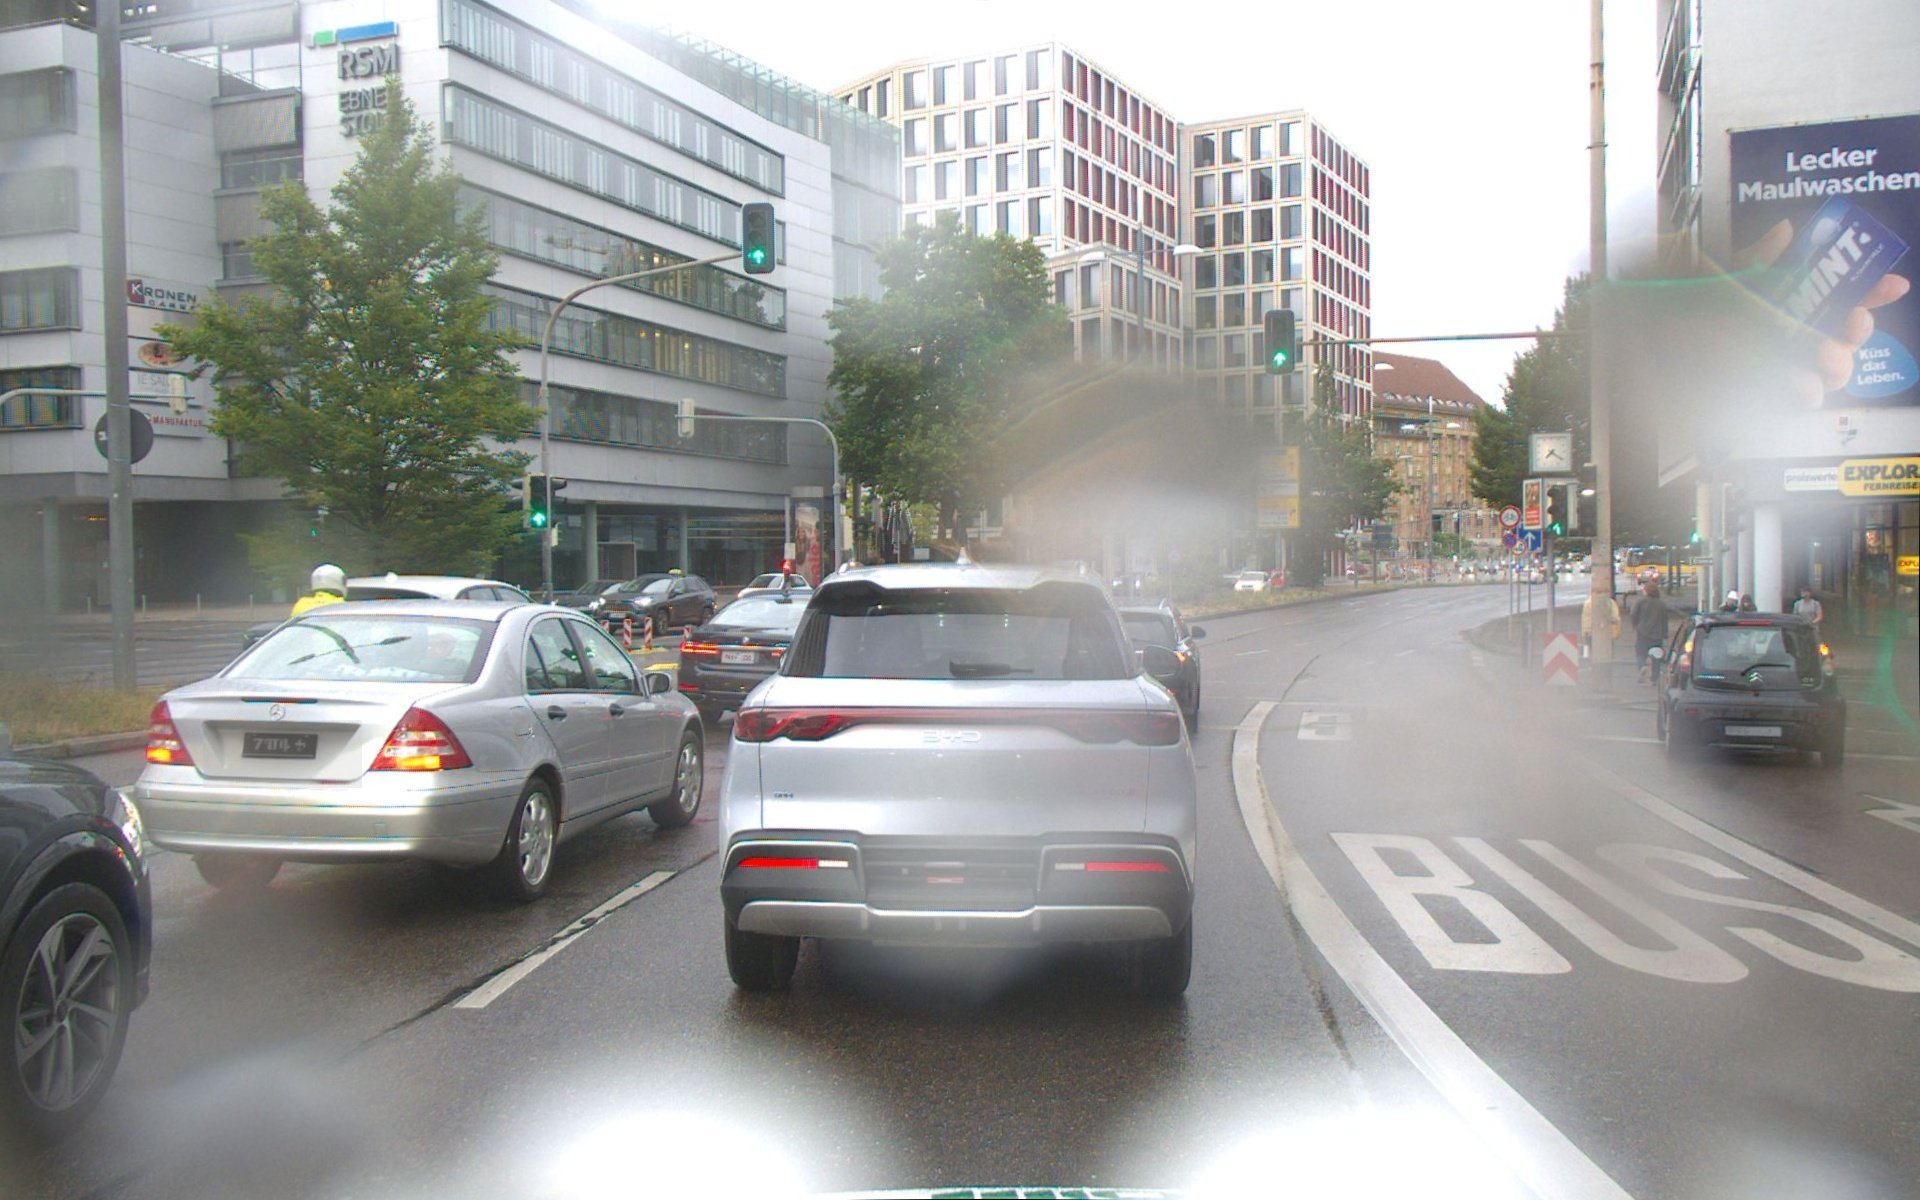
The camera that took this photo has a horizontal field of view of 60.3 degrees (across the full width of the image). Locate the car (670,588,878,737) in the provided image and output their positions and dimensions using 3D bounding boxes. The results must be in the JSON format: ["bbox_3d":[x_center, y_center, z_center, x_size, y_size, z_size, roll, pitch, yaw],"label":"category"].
[{"bbox_3d":[-2.033,0.655,19.127,1.537,1.512,4.003,1,0,6],"label":"car"}]

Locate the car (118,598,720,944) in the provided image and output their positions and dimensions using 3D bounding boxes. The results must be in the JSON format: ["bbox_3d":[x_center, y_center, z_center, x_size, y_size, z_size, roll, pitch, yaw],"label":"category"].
[{"bbox_3d":[-2.612,0.729,9.080,1.537,1.432,4.112,1,0,7],"label":"car"}]

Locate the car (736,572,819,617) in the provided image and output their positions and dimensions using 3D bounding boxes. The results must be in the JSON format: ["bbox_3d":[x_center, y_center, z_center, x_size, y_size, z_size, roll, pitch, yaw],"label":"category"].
[{"bbox_3d":[-6.754,-0.183,61.513,1.604,1.598,3.719,1,0,19],"label":"car"}]

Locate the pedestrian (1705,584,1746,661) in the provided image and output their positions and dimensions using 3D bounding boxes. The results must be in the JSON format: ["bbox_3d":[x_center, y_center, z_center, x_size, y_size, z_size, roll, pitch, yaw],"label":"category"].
[{"bbox_3d":[16.870,0.490,36.447,0.659,1.684,0.649,1,0,43],"label":"pedestrian"}]

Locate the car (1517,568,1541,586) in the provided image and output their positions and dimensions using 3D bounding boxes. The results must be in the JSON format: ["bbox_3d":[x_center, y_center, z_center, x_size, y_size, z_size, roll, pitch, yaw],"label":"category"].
[{"bbox_3d":[52.598,-2.117,152.883,1.849,1.671,4.000,1,1,22],"label":"car"}]

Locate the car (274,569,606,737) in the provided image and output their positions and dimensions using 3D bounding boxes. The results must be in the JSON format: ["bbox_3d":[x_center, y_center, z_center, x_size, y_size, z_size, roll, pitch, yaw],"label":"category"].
[{"bbox_3d":[-5.208,0.498,17.165,1.670,1.512,4.003,1,0,9],"label":"car"}]

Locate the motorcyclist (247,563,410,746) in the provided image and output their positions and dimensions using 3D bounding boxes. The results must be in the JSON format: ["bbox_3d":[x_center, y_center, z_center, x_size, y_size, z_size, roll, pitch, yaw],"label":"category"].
[{"bbox_3d":[-5.090,0.421,13.397,0.753,1.404,1.119,1,0,9],"label":"motorcyclist"}]

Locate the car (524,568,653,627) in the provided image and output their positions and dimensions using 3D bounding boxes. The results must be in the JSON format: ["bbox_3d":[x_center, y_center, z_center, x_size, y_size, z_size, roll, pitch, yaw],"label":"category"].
[{"bbox_3d":[-11.215,-0.094,50.138,1.952,1.638,4.001,2,1,20],"label":"car"}]

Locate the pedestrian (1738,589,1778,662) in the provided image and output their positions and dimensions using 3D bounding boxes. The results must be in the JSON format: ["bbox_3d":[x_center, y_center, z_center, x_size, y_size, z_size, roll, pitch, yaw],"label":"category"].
[{"bbox_3d":[17.367,0.548,35.990,0.615,1.570,0.649,1,0,43],"label":"pedestrian"}]

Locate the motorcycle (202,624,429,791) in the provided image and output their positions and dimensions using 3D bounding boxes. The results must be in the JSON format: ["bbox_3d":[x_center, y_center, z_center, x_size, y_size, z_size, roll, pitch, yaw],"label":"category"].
[{"bbox_3d":[-5.110,0.811,13.283,0.783,1.205,2.030,1,0,8],"label":"motorcycle"}]

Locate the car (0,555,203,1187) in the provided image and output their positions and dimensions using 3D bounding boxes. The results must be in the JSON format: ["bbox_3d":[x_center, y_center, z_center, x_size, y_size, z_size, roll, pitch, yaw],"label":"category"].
[{"bbox_3d":[-3.144,0.663,2.963,1.614,1.548,4.271,1,0,0],"label":"car"}]

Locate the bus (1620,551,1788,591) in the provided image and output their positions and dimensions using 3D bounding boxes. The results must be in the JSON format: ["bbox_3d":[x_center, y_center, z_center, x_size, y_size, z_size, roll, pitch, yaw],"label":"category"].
[{"bbox_3d":[81.788,-3.202,182.125,16.633,4.134,4.433,1,0,27],"label":"bus"}]

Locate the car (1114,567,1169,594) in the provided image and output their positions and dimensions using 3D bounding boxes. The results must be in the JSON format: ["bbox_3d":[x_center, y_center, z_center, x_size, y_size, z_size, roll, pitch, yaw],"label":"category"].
[{"bbox_3d":[10.592,-1.138,96.392,1.955,1.514,3.996,0,1,27],"label":"car"}]

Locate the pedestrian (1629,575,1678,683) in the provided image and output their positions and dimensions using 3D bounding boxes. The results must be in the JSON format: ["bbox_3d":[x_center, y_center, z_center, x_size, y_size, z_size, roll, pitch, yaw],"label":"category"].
[{"bbox_3d":[11.966,0.478,28.562,0.733,1.829,0.817,0,1,20],"label":"pedestrian"}]

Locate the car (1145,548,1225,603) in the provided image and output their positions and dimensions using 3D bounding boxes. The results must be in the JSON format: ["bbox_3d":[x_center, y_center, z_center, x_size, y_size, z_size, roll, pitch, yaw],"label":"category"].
[{"bbox_3d":[8.894,-0.926,65.098,1.953,2.049,4.848,1,0,22],"label":"car"}]

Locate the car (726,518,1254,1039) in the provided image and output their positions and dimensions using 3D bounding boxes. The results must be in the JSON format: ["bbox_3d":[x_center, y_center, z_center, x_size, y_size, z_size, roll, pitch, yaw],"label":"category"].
[{"bbox_3d":[0.143,0.603,7.516,1.739,1.708,4.000,1,0,1],"label":"car"}]

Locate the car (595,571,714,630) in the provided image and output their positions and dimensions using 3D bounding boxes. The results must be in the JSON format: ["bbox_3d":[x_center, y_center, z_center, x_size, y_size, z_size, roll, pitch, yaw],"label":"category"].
[{"bbox_3d":[-8.564,-0.003,46.758,1.609,1.563,4.155,1,0,16],"label":"car"}]

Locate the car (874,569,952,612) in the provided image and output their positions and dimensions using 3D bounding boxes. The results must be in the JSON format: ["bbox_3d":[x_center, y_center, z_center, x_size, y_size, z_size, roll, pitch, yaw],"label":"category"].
[{"bbox_3d":[-1.785,-0.386,64.661,1.610,1.609,4.086,1,0,21],"label":"car"}]

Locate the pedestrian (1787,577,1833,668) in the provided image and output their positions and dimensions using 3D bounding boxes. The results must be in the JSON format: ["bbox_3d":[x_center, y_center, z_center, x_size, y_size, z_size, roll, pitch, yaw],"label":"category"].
[{"bbox_3d":[17.350,0.450,33.752,0.659,1.825,0.768,1,0,43],"label":"pedestrian"}]

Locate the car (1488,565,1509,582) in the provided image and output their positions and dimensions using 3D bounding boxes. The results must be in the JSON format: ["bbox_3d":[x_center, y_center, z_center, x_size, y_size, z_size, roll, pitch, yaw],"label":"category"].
[{"bbox_3d":[66.911,-3.332,205.425,1.954,2.049,3.996,1,0,26],"label":"car"}]

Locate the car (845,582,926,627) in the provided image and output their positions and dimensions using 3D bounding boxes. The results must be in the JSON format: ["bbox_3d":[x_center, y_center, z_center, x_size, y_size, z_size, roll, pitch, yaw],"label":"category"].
[{"bbox_3d":[-2.411,0.149,54.611,1.654,1.409,3.871,1,0,13],"label":"car"}]

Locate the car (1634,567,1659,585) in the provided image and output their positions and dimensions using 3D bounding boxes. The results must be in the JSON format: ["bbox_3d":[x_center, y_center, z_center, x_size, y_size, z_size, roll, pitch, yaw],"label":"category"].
[{"bbox_3d":[62.762,-2.188,151.269,1.662,1.512,3.993,1,0,29],"label":"car"}]

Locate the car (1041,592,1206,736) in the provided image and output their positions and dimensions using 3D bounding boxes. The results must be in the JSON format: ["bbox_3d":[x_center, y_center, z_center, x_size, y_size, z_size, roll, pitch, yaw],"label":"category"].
[{"bbox_3d":[2.032,0.690,19.641,1.657,1.512,4.003,1,0,10],"label":"car"}]

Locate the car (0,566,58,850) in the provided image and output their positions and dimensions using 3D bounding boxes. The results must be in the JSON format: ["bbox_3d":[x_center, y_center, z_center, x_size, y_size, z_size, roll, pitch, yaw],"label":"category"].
[{"bbox_3d":[-6.317,0.595,7.256,1.826,1.560,4.780,1,0,4],"label":"car"}]

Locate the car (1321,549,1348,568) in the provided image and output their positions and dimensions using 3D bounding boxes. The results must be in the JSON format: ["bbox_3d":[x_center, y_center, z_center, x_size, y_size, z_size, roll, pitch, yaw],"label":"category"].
[{"bbox_3d":[37.193,-4.101,164.080,1.577,1.771,3.437,1,0,31],"label":"car"}]

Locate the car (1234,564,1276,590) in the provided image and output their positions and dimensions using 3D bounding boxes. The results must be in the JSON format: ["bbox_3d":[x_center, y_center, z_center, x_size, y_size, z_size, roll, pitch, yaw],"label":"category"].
[{"bbox_3d":[16.903,-1.323,94.612,1.598,1.462,3.907,0,1,23],"label":"car"}]

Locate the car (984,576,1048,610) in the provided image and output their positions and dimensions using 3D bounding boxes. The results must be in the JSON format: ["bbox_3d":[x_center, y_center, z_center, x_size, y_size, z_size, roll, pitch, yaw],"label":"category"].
[{"bbox_3d":[2.784,-0.344,81.262,1.598,1.586,4.592,0,1,23],"label":"car"}]

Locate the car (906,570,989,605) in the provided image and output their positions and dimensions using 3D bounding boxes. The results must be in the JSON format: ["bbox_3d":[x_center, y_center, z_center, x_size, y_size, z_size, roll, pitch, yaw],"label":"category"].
[{"bbox_3d":[-0.518,-0.588,75.005,1.777,1.536,5.194,0,1,24],"label":"car"}]

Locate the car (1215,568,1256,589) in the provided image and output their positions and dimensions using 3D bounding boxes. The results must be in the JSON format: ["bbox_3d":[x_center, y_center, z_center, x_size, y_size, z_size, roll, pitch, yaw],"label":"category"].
[{"bbox_3d":[20.514,-1.627,123.031,1.955,1.514,3.996,0,1,27],"label":"car"}]

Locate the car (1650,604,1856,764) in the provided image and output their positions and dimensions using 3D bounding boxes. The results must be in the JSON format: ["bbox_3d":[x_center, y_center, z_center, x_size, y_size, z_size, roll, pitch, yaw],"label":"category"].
[{"bbox_3d":[8.232,0.795,17.448,1.538,1.454,4.001,1,0,20],"label":"car"}]

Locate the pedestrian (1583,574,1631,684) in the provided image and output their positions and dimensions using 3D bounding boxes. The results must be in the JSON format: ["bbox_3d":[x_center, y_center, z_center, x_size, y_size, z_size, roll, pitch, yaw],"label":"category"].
[{"bbox_3d":[10.927,0.477,27.961,0.733,1.829,0.817,0,1,20],"label":"pedestrian"}]
